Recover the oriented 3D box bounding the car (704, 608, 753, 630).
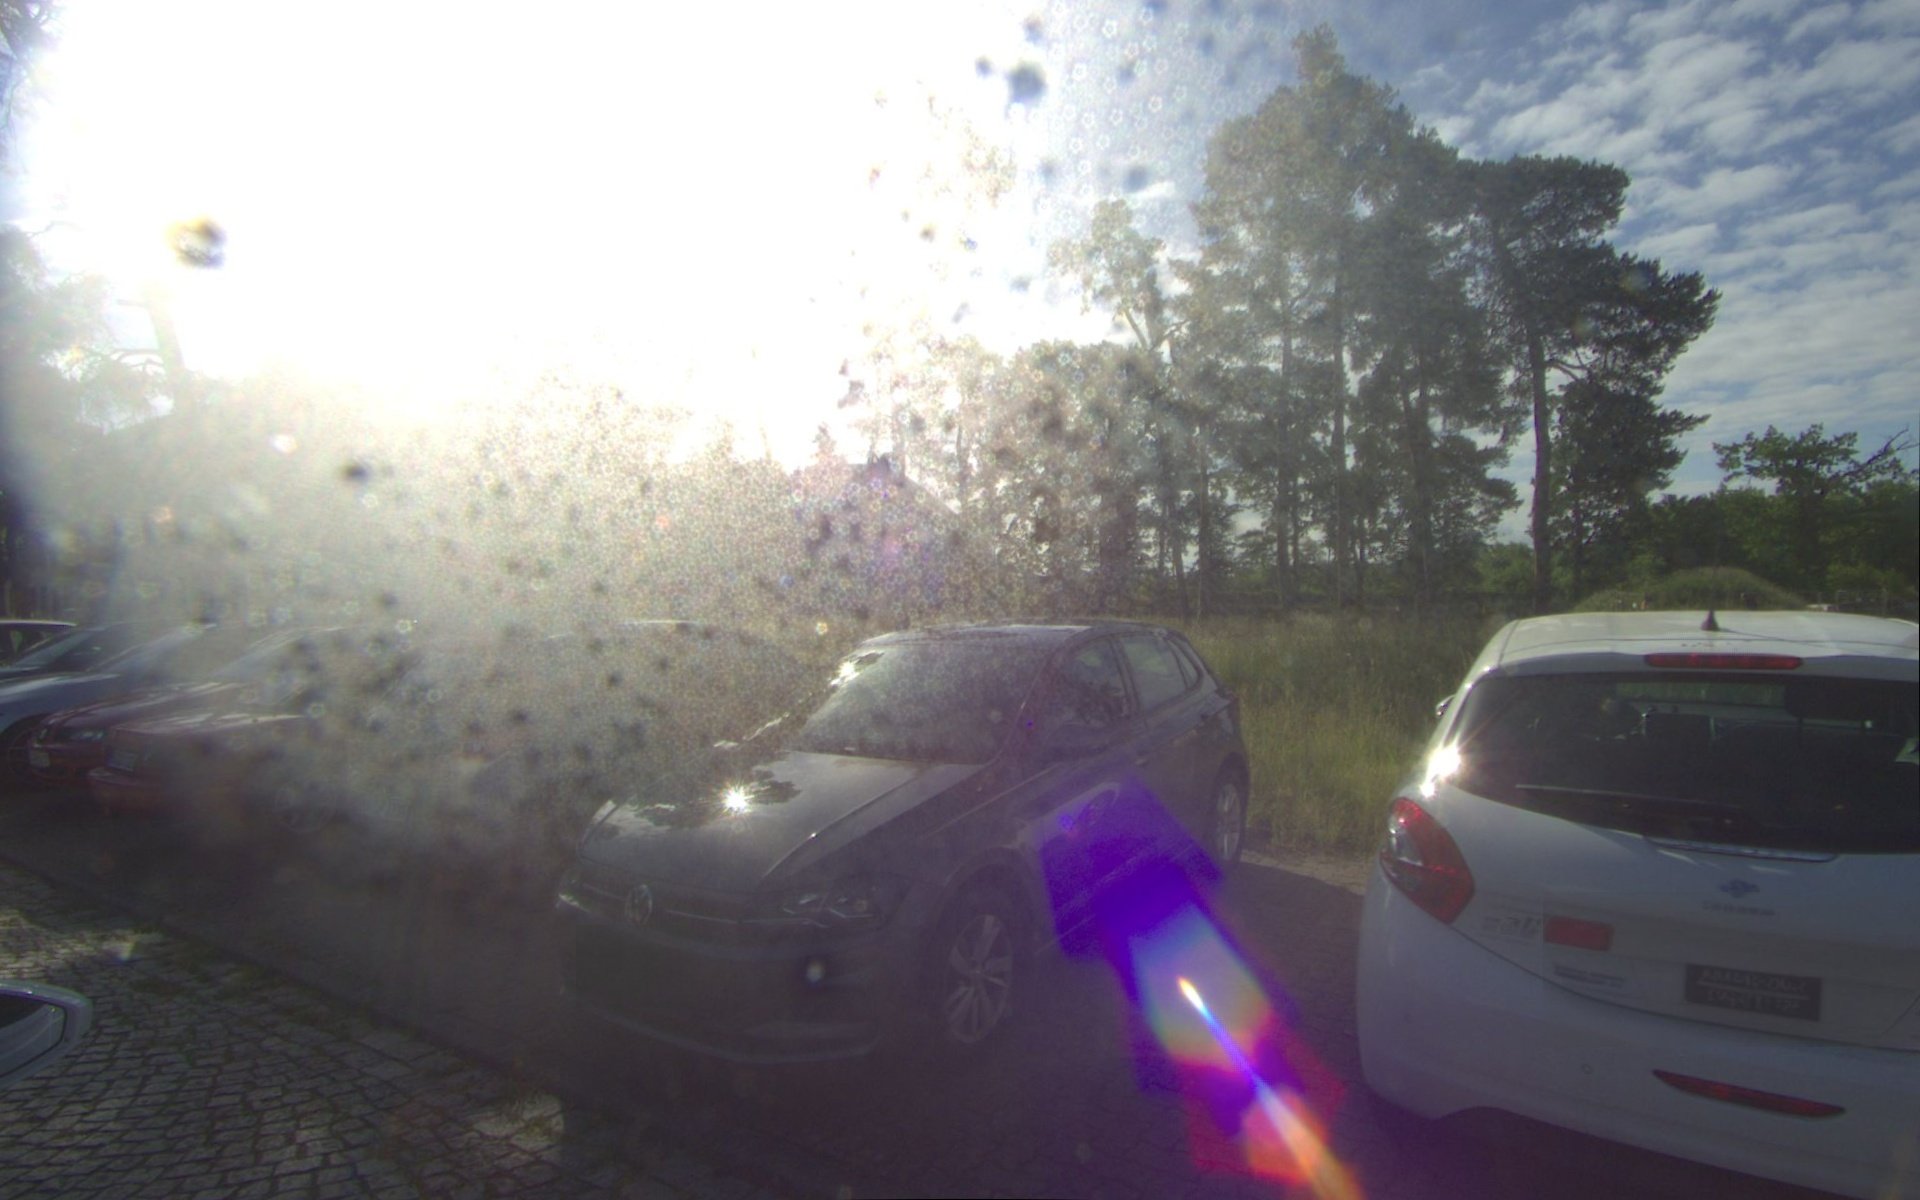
[{"bbox_3d":[-18.680,1.534,80.771,1.743,1.693,3.625,0,0,35],"label":"car"}]

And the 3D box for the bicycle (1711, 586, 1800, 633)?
[{"bbox_3d":[36.710,0.443,46.283,3.087,2.040,0.948,-3,-1,32],"label":"bicycle"}]

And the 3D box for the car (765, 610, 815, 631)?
[{"bbox_3d":[-12.892,1.517,76.053,1.743,1.517,3.625,-1,0,35],"label":"car"}]

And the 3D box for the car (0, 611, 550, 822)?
[{"bbox_3d":[-6.143,0.883,9.471,1.632,1.468,3.970,0,1,32],"label":"car"}]

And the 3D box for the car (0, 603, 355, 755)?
[{"bbox_3d":[-10.301,0.868,12.243,1.842,1.475,4.609,0,2,31],"label":"car"}]

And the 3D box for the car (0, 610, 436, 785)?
[{"bbox_3d":[-8.177,0.873,10.562,1.763,1.407,4.389,0,1,32],"label":"car"}]

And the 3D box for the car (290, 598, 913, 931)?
[{"bbox_3d":[-2.056,0.783,6.703,1.643,1.474,3.653,0,2,33],"label":"car"}]

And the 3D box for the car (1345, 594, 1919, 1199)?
[{"bbox_3d":[2.589,0.742,3.480,1.611,1.512,3.636,0,0,33],"label":"car"}]

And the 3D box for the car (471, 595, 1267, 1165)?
[{"bbox_3d":[0.000,0.754,4.728,1.734,1.470,3.769,0,1,34],"label":"car"}]

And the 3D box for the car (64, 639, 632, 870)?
[{"bbox_3d":[-4.449,0.980,7.753,1.515,1.258,3.452,0,-1,33],"label":"car"}]

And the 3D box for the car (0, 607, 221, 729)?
[{"bbox_3d":[-12.466,0.886,13.490,1.642,1.463,3.663,0,1,33],"label":"car"}]
